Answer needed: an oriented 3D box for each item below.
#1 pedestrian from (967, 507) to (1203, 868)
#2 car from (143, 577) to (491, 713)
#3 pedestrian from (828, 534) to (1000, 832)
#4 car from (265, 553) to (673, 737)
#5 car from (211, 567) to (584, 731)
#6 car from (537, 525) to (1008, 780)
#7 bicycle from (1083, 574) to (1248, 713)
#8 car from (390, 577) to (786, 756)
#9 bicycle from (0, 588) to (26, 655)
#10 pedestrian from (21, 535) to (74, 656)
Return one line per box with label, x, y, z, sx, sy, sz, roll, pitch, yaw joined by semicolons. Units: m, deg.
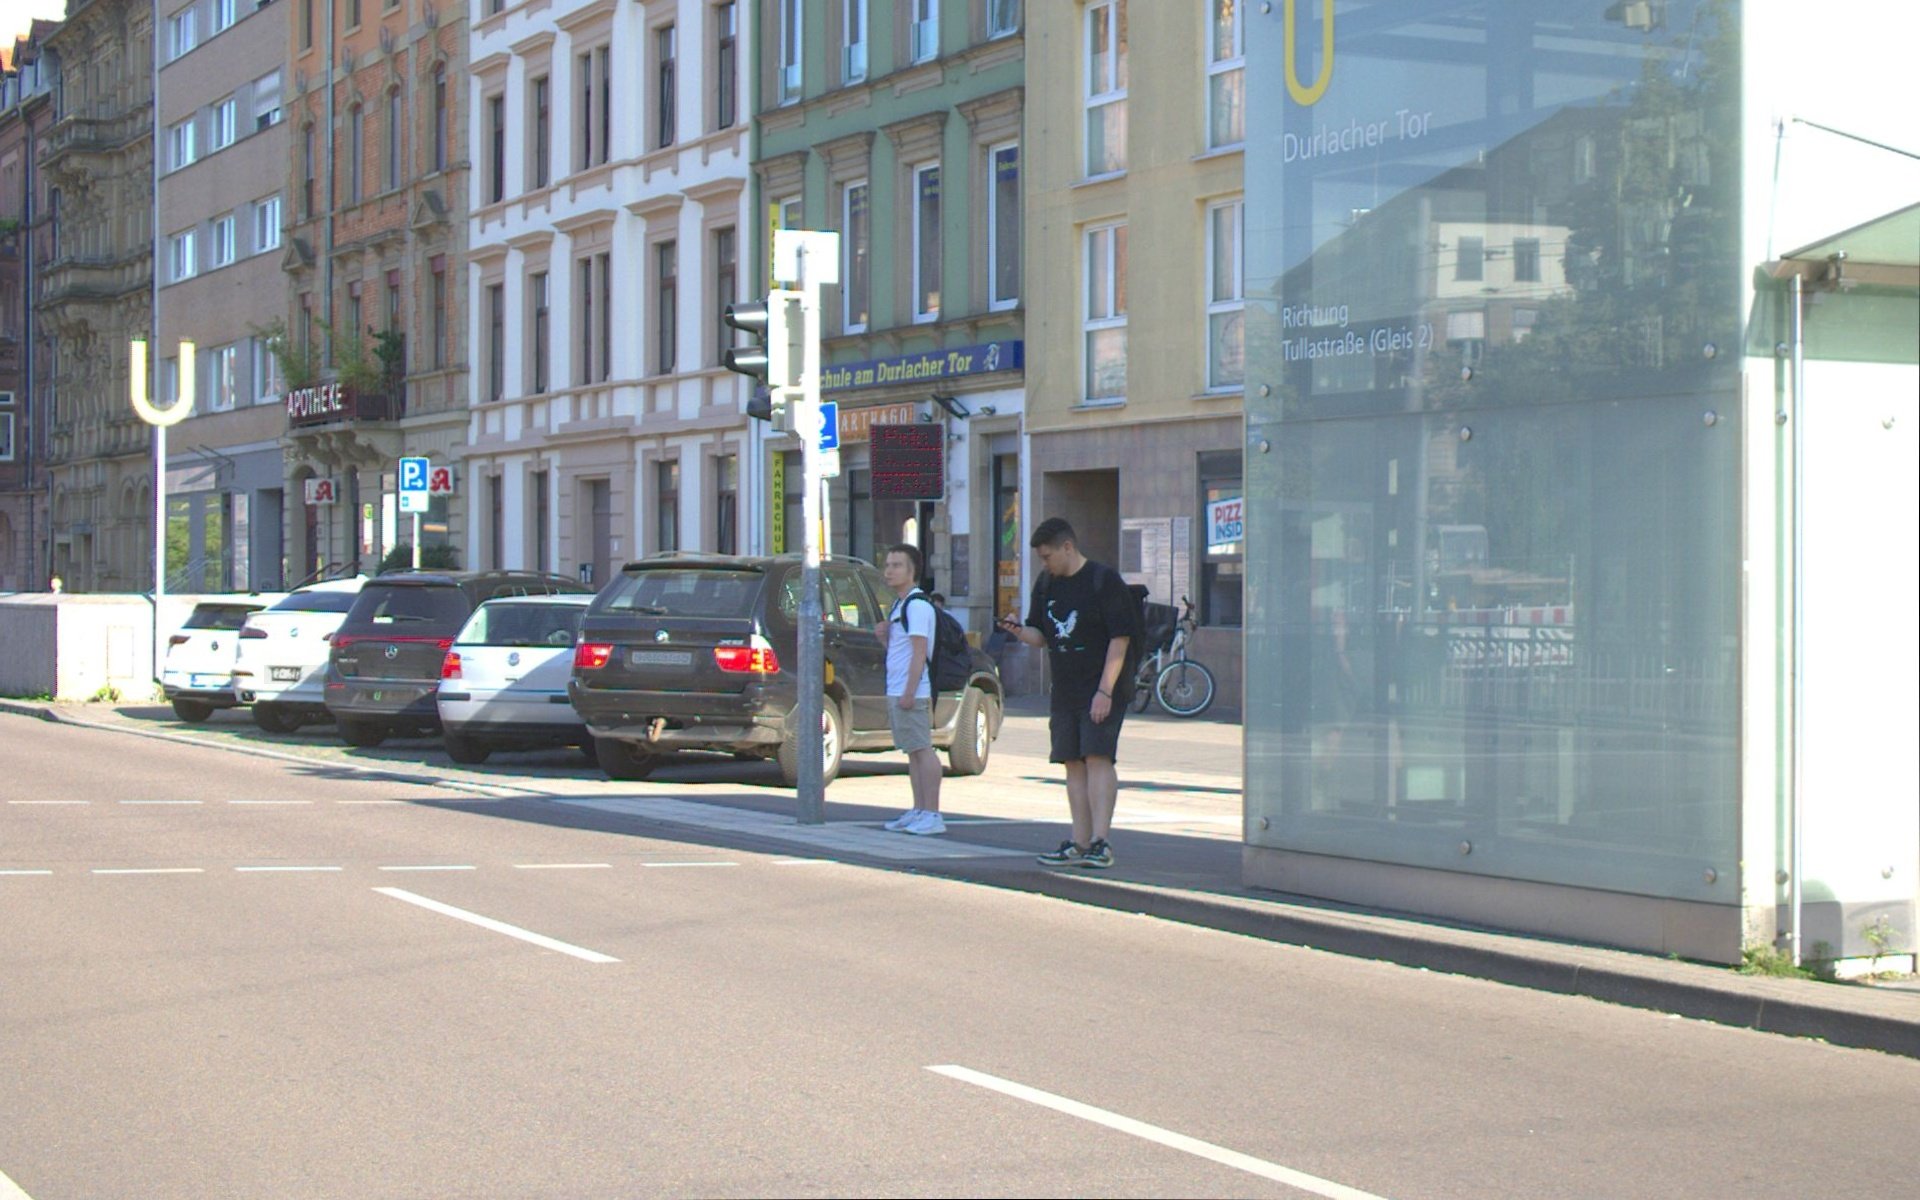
pedestrian;0.619;0.412;16.952;0.869;1.722;0.793;0;0;33
car;-7.308;0.479;39.451;1.958;1.459;4.108;0;0;24
pedestrian;-0.276;0.475;20.383;0.696;1.722;0.753;0;1;-41
car;-4.565;0.412;32.647;1.956;1.592;4.246;1;0;22
car;-5.817;0.497;36.103;1.956;1.565;4.246;1;0;21
car;-1.371;0.388;27.074;1.956;1.808;4.246;1;0;24
bicycle;2.215;0.447;37.477;0.929;1.352;2.230;-1;3;-22
car;-3.130;0.581;29.710;1.785;1.395;3.888;1;-1;21
bicycle;-17.673;0.381;61.527;1.764;1.183;0.470;1;1;-25
pedestrian;-15.481;-0.082;58.302;0.750;2.006;0.698;-1;3;-25
